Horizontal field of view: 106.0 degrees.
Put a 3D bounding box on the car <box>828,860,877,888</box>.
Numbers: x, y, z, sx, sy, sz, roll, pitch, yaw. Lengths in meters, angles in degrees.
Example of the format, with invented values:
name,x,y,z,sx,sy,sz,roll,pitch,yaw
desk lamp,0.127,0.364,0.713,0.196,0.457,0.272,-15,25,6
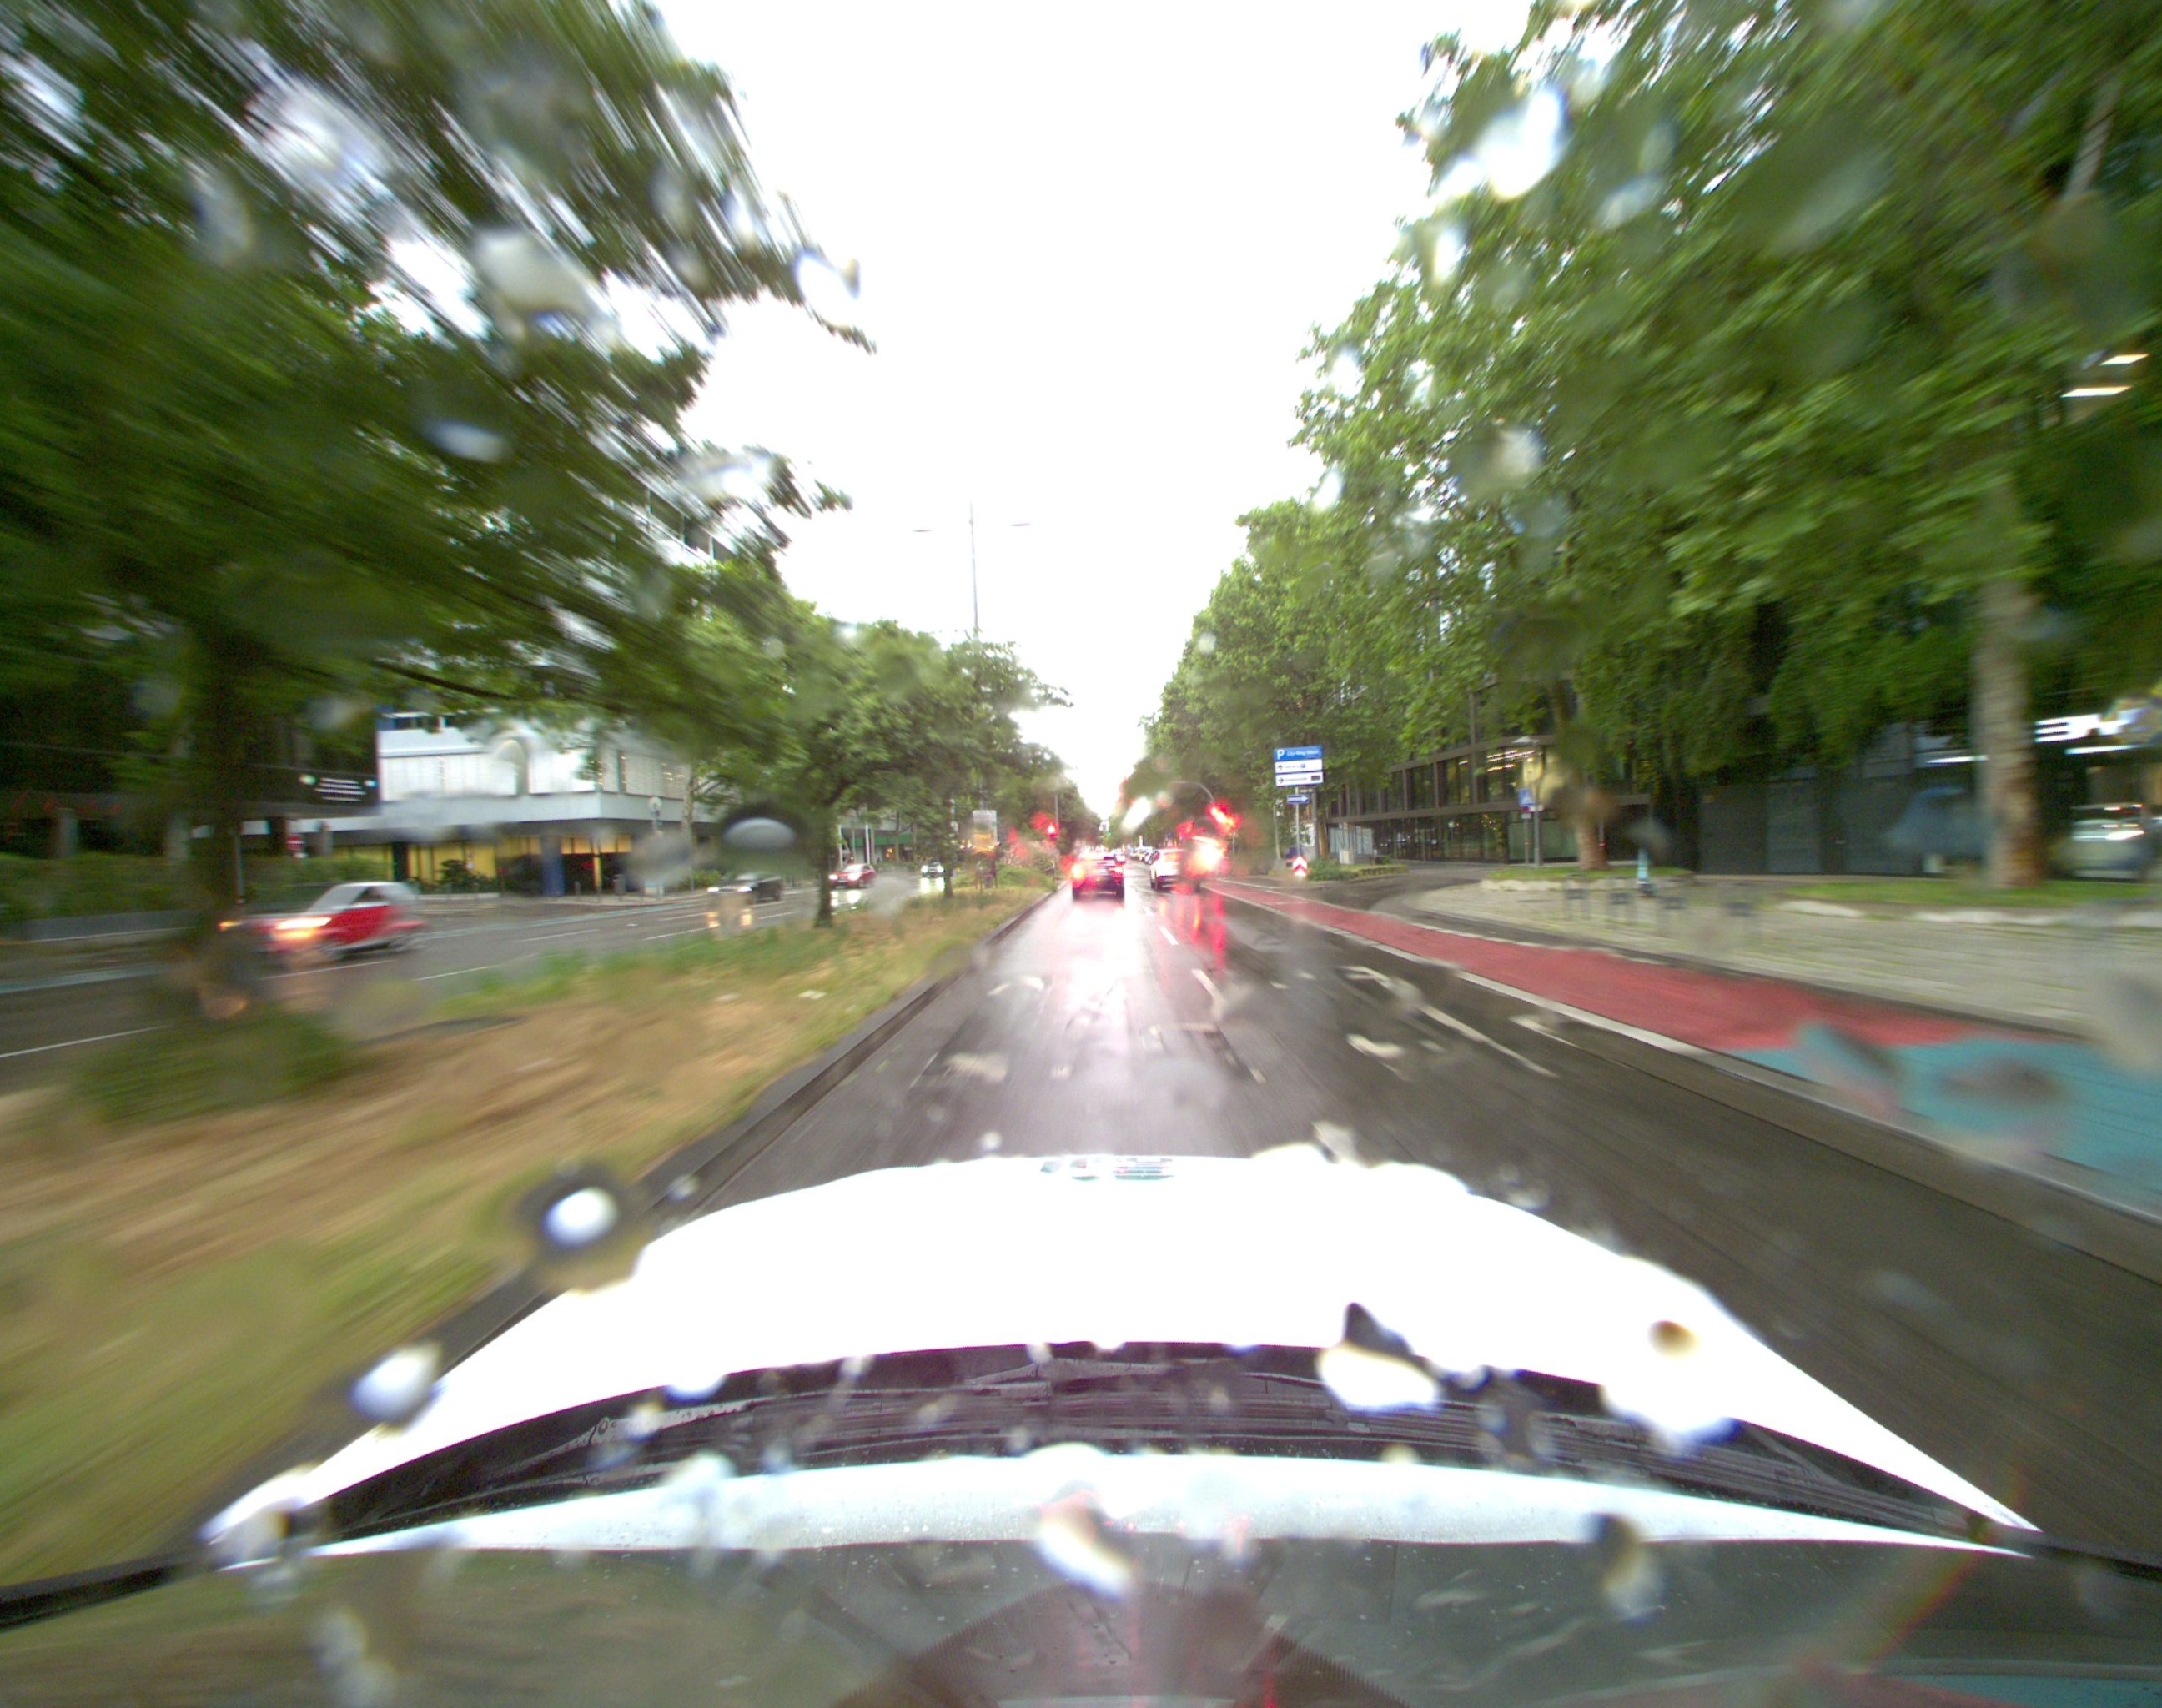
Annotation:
name,x,y,z,sx,sy,sz,roll,pitch,yaw
car,-13.420,1.151,48.134,1.609,1.394,4.185,-2,1,1

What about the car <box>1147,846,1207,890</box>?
name,x,y,z,sx,sy,sz,roll,pitch,yaw
car,3.968,0.518,34.502,1.986,1.655,4.890,-2,1,1

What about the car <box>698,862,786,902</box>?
name,x,y,z,sx,sy,sz,roll,pitch,yaw
car,-13.784,1.101,33.366,1.837,1.389,4.001,-2,0,1

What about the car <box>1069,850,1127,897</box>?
name,x,y,z,sx,sy,sz,roll,pitch,yaw
car,0.610,0.652,29.545,1.912,1.491,4.001,-2,0,1

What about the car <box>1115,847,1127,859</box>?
name,x,y,z,sx,sy,sz,roll,pitch,yaw
car,5.831,-0.102,119.602,1.615,1.666,4.001,-3,0,1

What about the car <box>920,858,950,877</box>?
name,x,y,z,sx,sy,sz,roll,pitch,yaw
car,-12.449,1.127,69.701,1.825,1.552,4.186,-2,0,-2

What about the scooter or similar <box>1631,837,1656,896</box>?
name,x,y,z,sx,sy,sz,roll,pitch,yaw
scooter or similar,12.345,0.262,17.867,0.377,1.228,1.086,-2,0,37

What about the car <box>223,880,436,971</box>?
name,x,y,z,sx,sy,sz,roll,pitch,yaw
car,-14.428,1.313,15.827,1.488,1.463,2.733,-2,0,2
